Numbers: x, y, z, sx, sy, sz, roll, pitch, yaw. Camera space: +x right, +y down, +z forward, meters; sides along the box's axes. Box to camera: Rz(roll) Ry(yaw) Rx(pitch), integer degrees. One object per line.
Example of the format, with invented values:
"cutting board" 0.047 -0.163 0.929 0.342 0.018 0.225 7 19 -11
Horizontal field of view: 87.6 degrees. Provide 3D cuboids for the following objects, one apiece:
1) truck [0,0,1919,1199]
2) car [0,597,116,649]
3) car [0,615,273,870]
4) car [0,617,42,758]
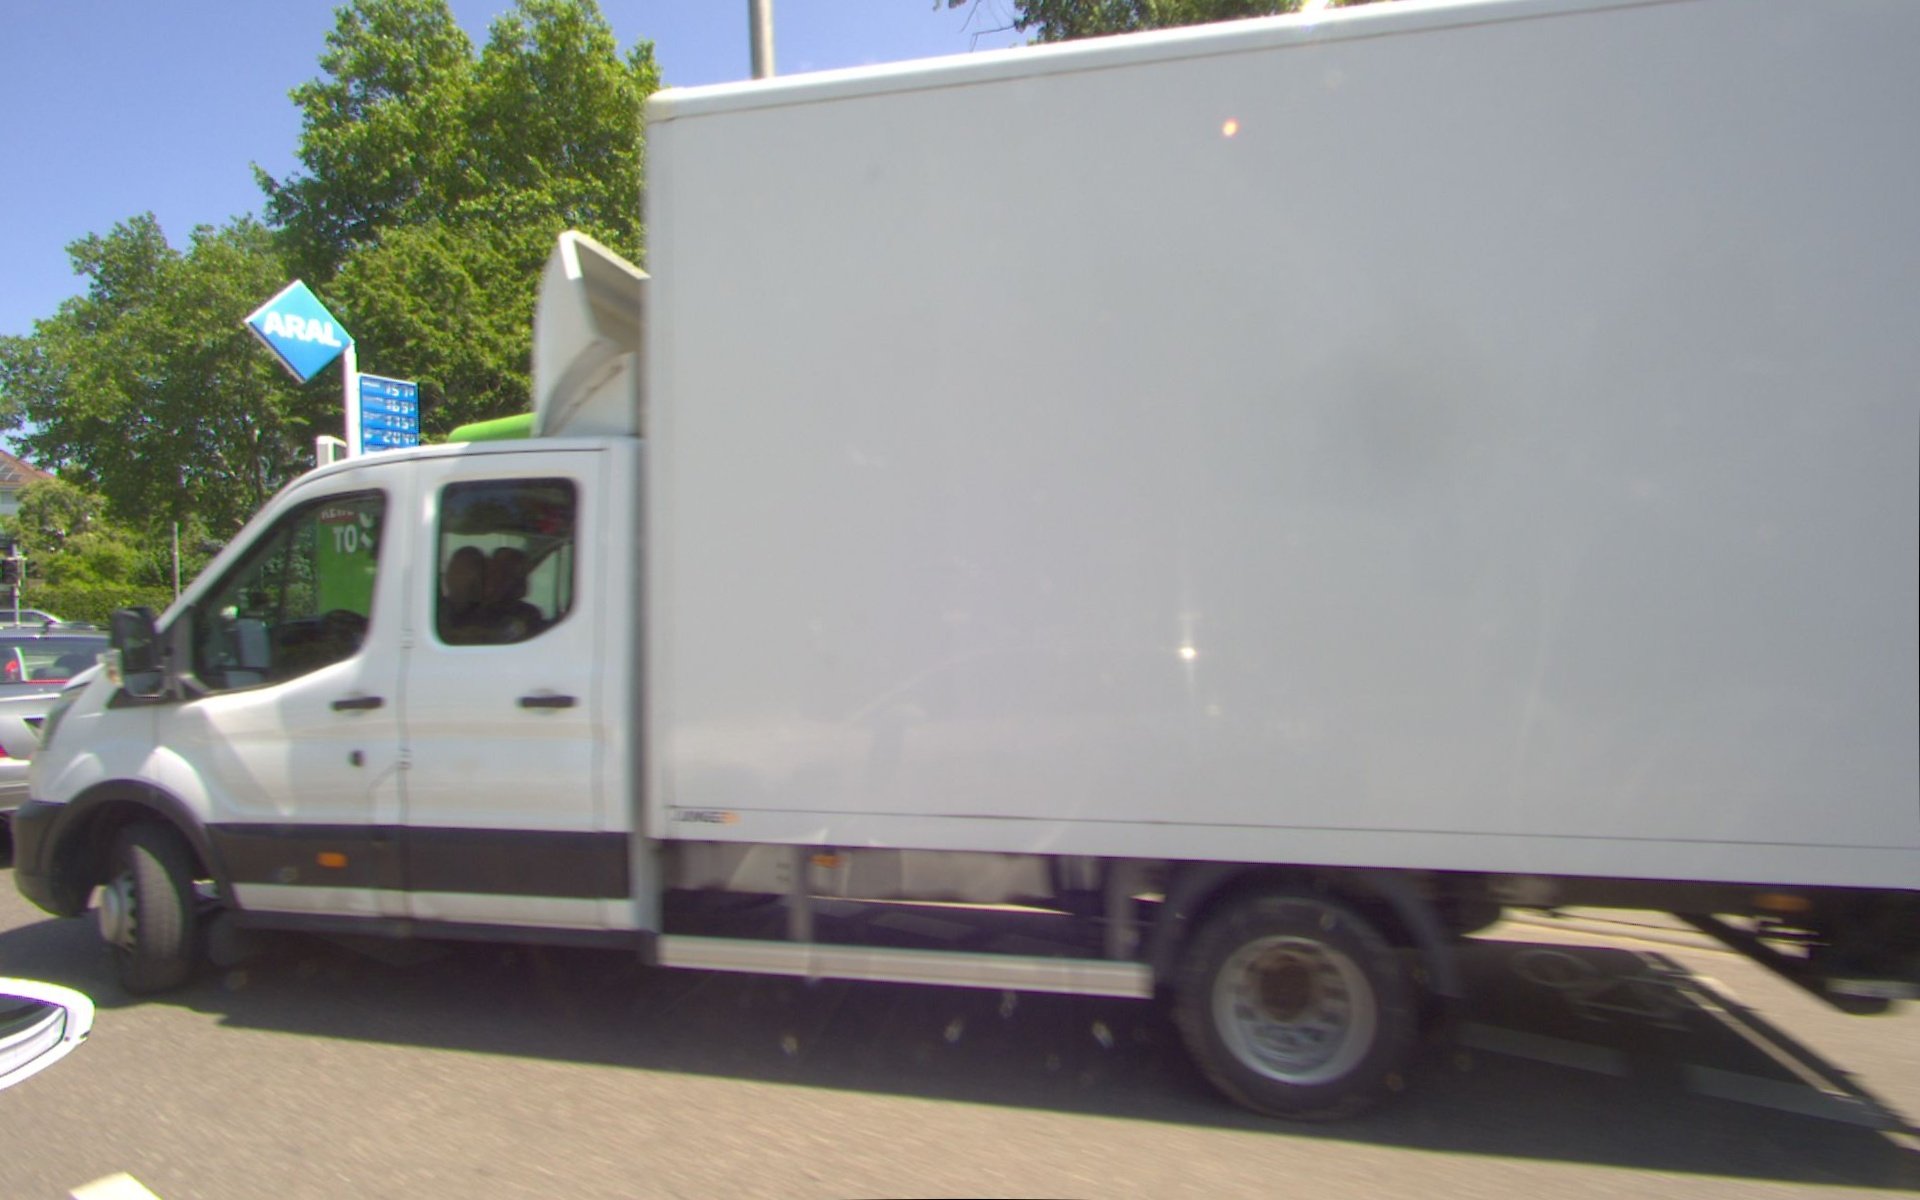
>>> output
"truck" -0.257 -0.112 4.451 7.686 3.437 2.425 0 1 12
"car" -34.333 0.842 37.163 4.492 1.853 1.981 -1 1 -43
"car" -7.128 0.856 7.474 4.356 1.469 1.791 0 0 33
"car" -11.733 0.912 11.023 3.471 1.470 1.604 0 -1 33
